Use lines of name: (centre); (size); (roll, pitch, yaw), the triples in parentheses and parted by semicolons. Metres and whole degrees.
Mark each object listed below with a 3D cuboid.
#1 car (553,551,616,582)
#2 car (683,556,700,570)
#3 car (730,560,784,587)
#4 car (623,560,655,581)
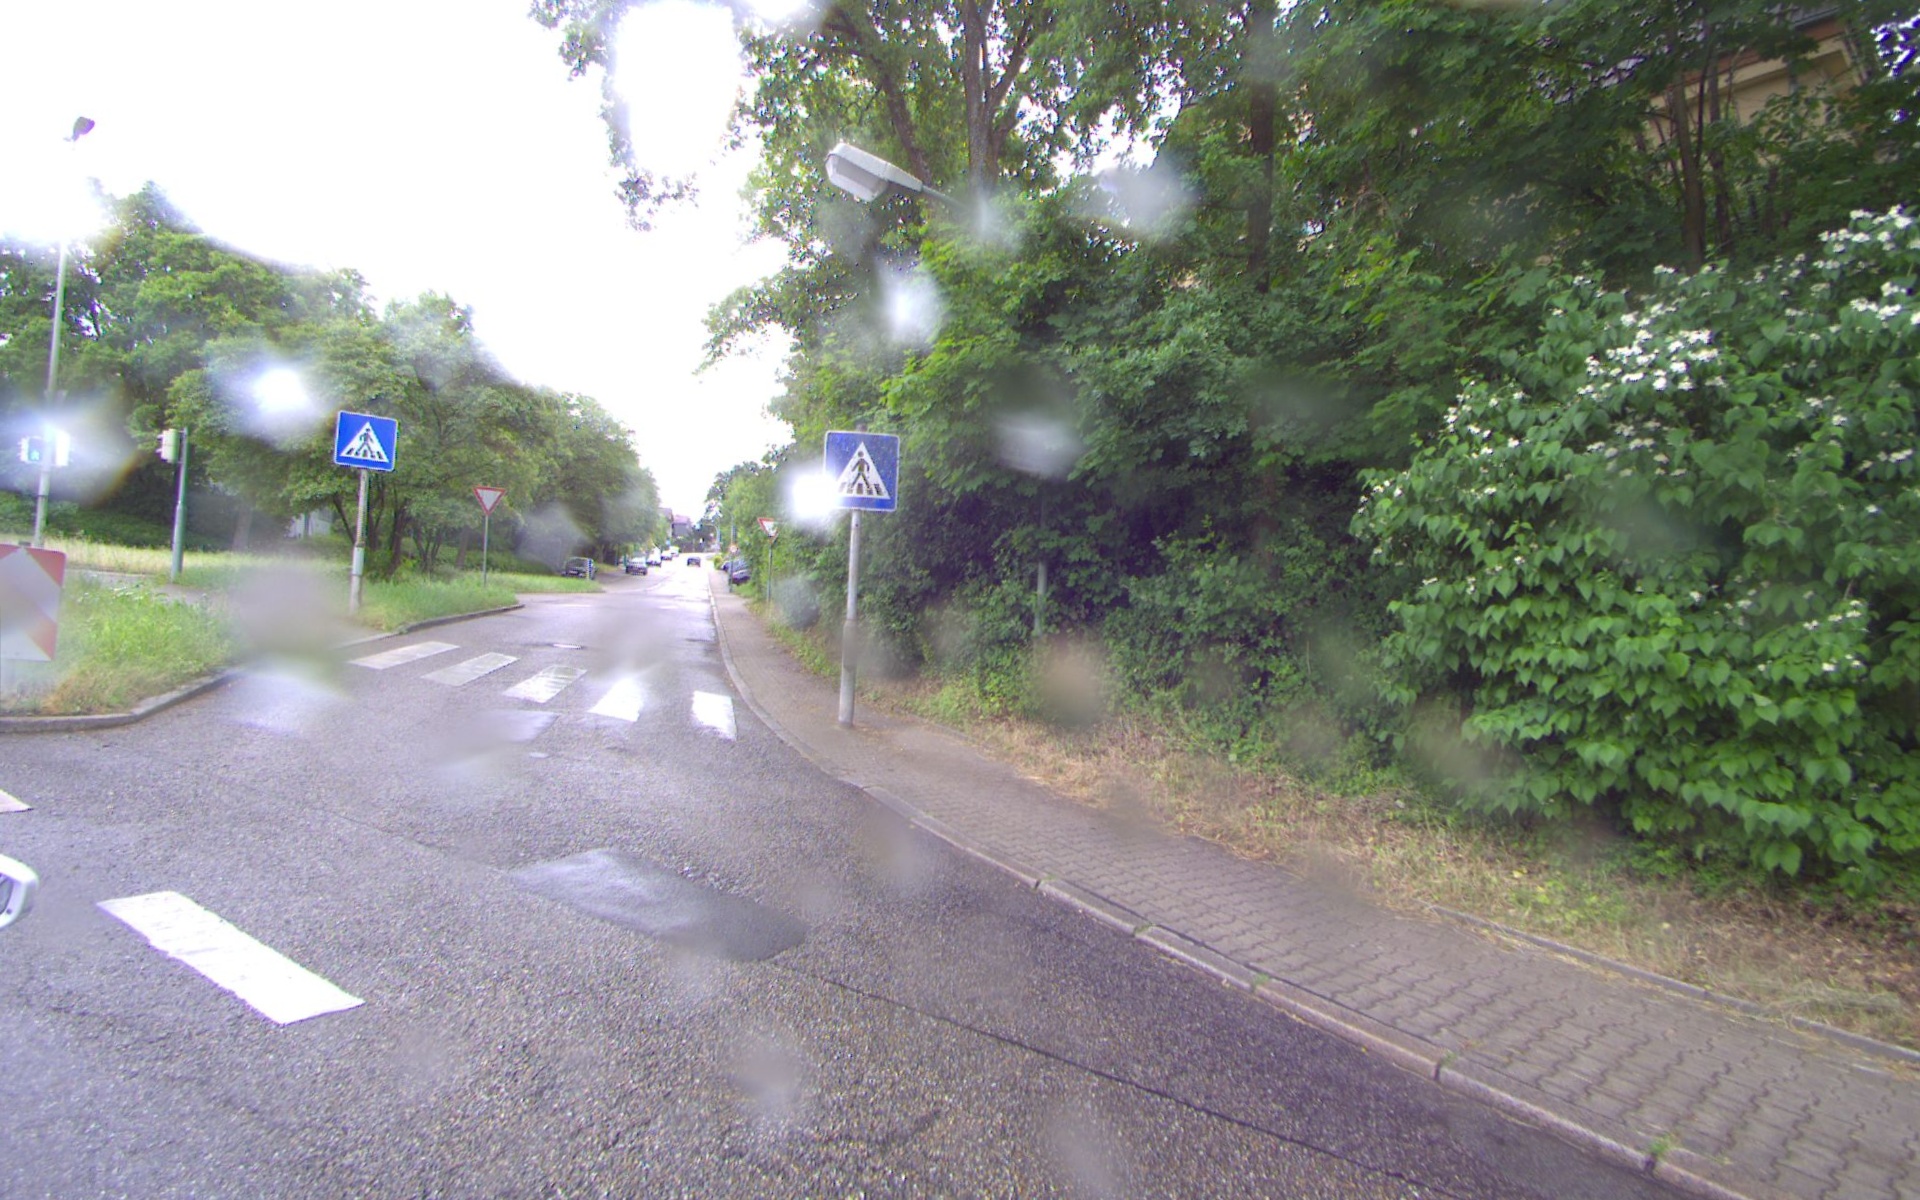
car: (-25.072, -2.218, 67.263); (1.793, 1.590, 4.001); (7, 0, 15)
car: (-36.934, -5.057, 138.401); (1.918, 1.474, 4.200); (8, -2, -19)
car: (-16.077, -2.061, 79.620); (3.937, 1.668, 1.951); (7, 0, -15)
car: (-29.885, -2.724, 93.704); (1.672, 1.463, 4.002); (7, -2, -2)
